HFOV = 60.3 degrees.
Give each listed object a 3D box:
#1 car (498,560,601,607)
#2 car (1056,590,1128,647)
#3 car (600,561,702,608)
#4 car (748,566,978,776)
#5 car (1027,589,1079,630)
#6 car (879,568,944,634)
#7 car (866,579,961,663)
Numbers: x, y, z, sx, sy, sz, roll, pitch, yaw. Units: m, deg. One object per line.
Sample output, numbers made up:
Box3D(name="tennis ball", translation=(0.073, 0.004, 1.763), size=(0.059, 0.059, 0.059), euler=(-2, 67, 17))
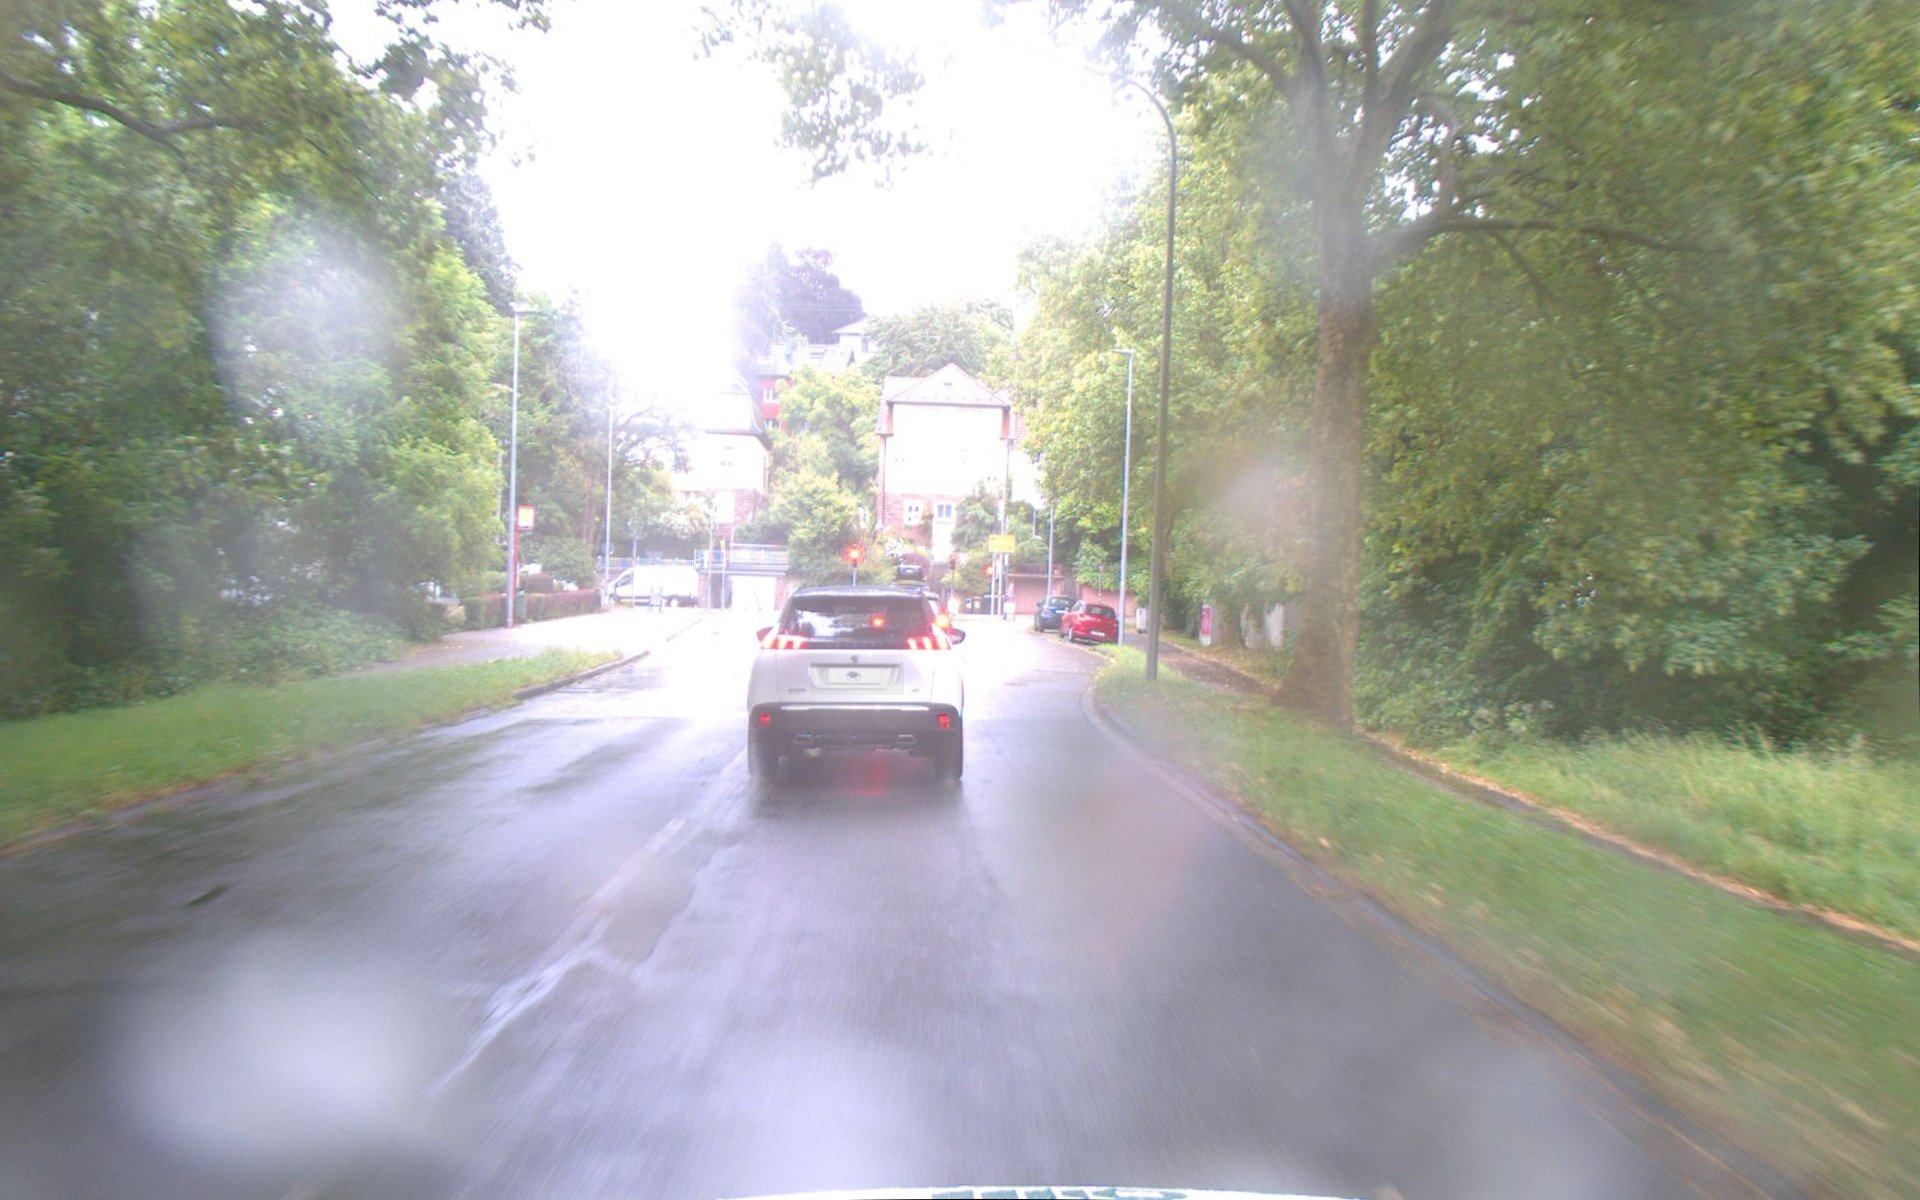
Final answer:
Box3D(name="car", translation=(-24.611, -0.964, 99.330), size=(5.449, 2.538, 2.315), euler=(2, -1, -1))
Box3D(name="car", translation=(4.577, 0.608, 57.801), size=(1.785, 1.542, 3.741), euler=(9, 1, -4))
Box3D(name="car", translation=(-18.509, -0.905, 99.294), size=(5.545, 2.538, 2.315), euler=(2, -1, -1))
Box3D(name="car", translation=(-0.800, 0.522, 14.670), size=(1.717, 1.562, 4.366), euler=(1, 0, -2))
Box3D(name="car", translation=(3.769, 0.381, 67.514), size=(1.714, 1.517, 3.598), euler=(4, 0, -2))
Box3D(name="car", translation=(-1.471, -0.017, 48.883), size=(1.725, 1.740, 4.598), euler=(3, 1, -3))
Box3D(name="car", translation=(-0.984, 0.389, 35.210), size=(1.795, 1.481, 4.658), euler=(4, 1, -2))
